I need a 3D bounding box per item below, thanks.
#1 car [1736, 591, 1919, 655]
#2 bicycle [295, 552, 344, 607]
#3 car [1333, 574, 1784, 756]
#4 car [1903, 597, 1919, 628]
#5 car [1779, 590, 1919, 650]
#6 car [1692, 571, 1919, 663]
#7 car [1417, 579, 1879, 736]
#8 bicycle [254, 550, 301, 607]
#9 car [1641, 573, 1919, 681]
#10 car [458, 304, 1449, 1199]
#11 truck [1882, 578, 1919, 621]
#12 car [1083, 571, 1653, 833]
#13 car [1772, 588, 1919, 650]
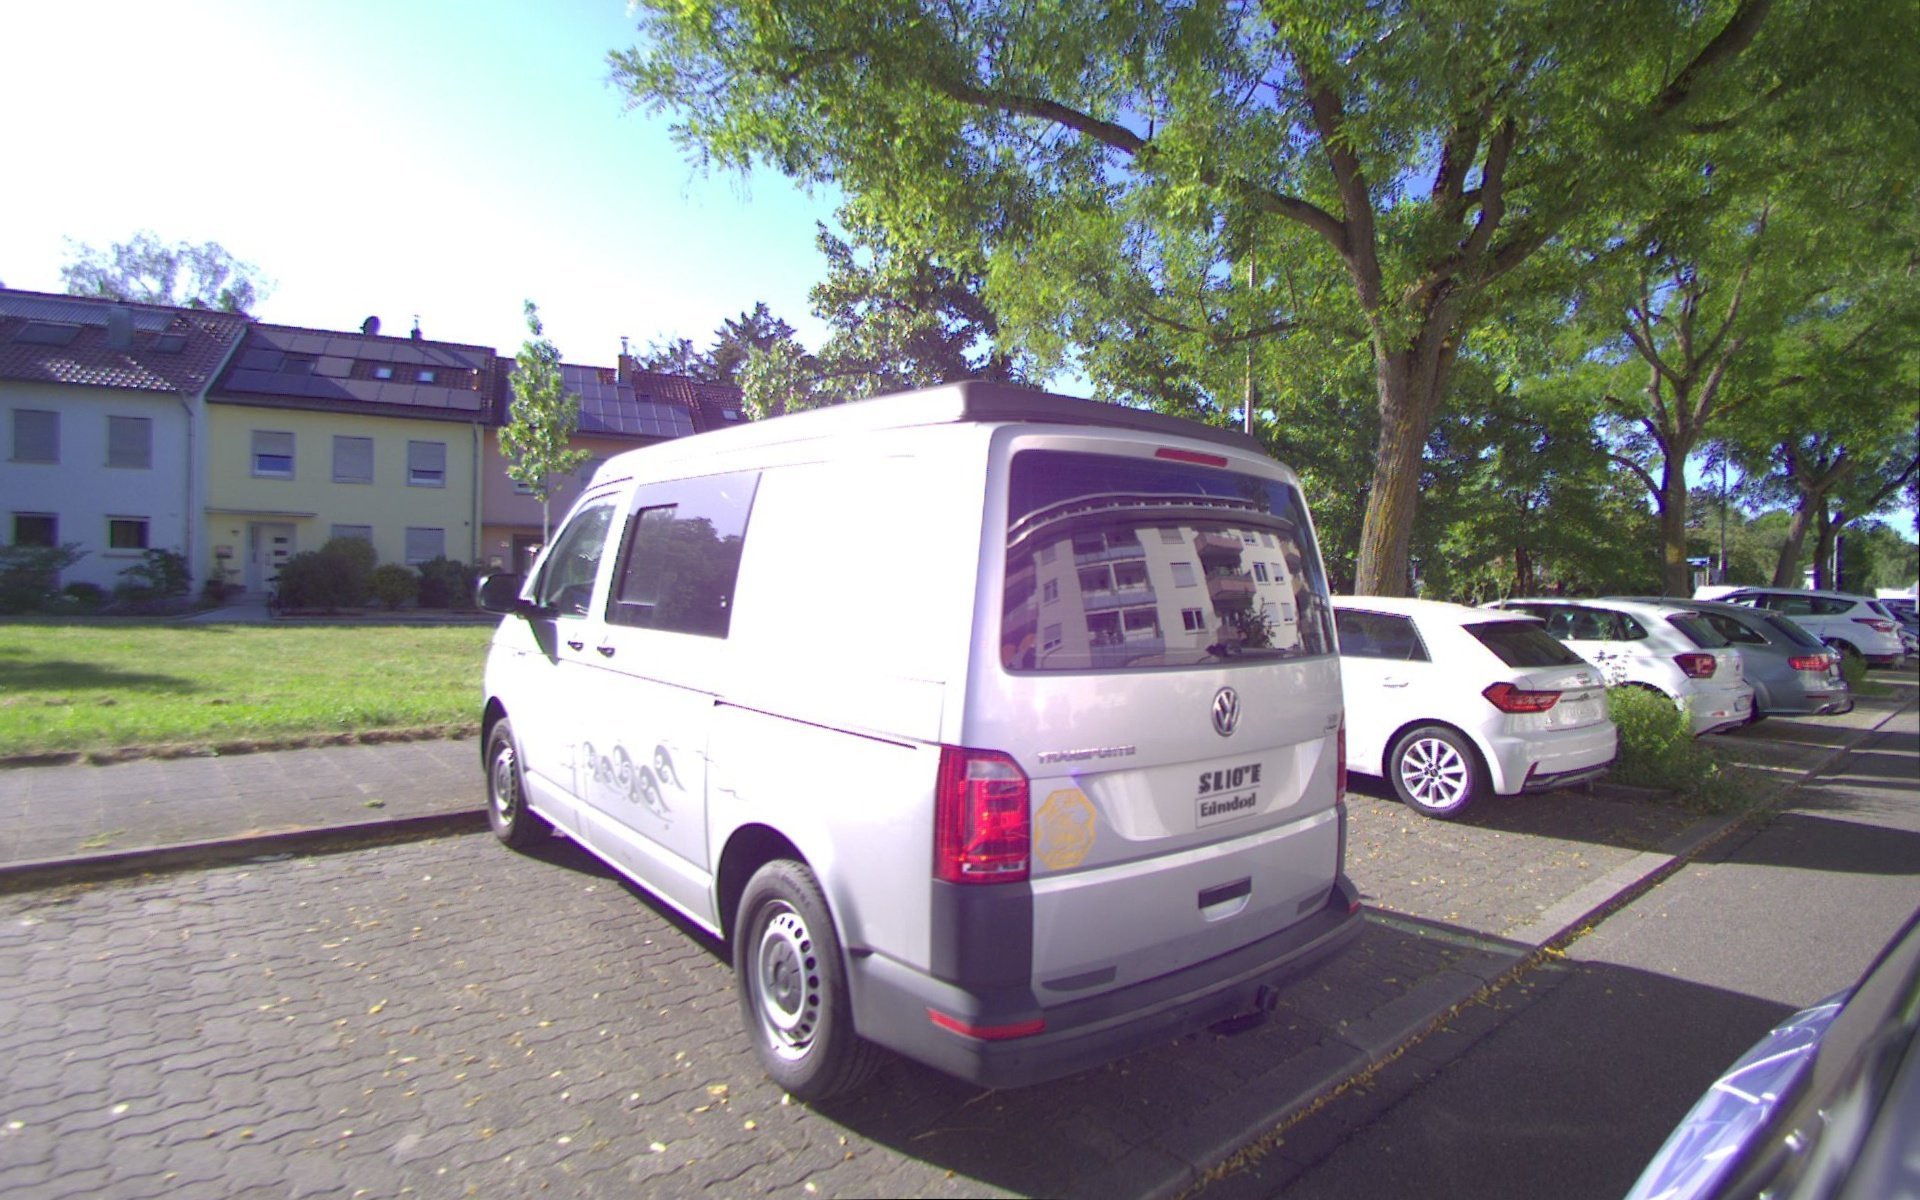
[{"bbox_3d":[24.284,0.602,28.065,1.717,1.425,4.143,0,4,-45],"label":"car"},{"bbox_3d":[-17.823,-0.561,28.117,0.810,1.461,2.916,0,0,-39],"label":"bicycle"},{"bbox_3d":[6.369,0.555,11.156,1.607,1.453,3.918,1,4,-40],"label":"car"},{"bbox_3d":[53.948,0.695,56.532,1.769,1.634,3.988,5,4,43],"label":"car"},{"bbox_3d":[28.168,0.600,31.402,1.717,1.572,4.046,0,4,-44],"label":"car"},{"bbox_3d":[20.848,0.350,24.861,4.432,1.945,1.718,4,2,43],"label":"car"},{"bbox_3d":[8.368,0.556,12.671,1.716,1.489,4.486,0,2,-42],"label":"car"},{"bbox_3d":[-18.862,-0.584,27.932,0.810,1.492,2.916,0,0,-39],"label":"bicycle"},{"bbox_3d":[15.698,0.426,19.435,1.715,1.786,4.047,0,2,-42],"label":"car"},{"bbox_3d":[-0.578,0.288,4.484,1.985,2.041,4.463,1,3,-39],"label":"car"},{"bbox_3d":[66.976,-0.037,71.299,2.757,2.835,8.137,5,4,43],"label":"truck"},{"bbox_3d":[2.948,0.573,8.077,1.606,1.453,3.920,1,2,-37],"label":"car"},{"bbox_3d":[26.406,0.519,29.564,1.717,1.679,4.043,0,1,-45],"label":"car"}]
